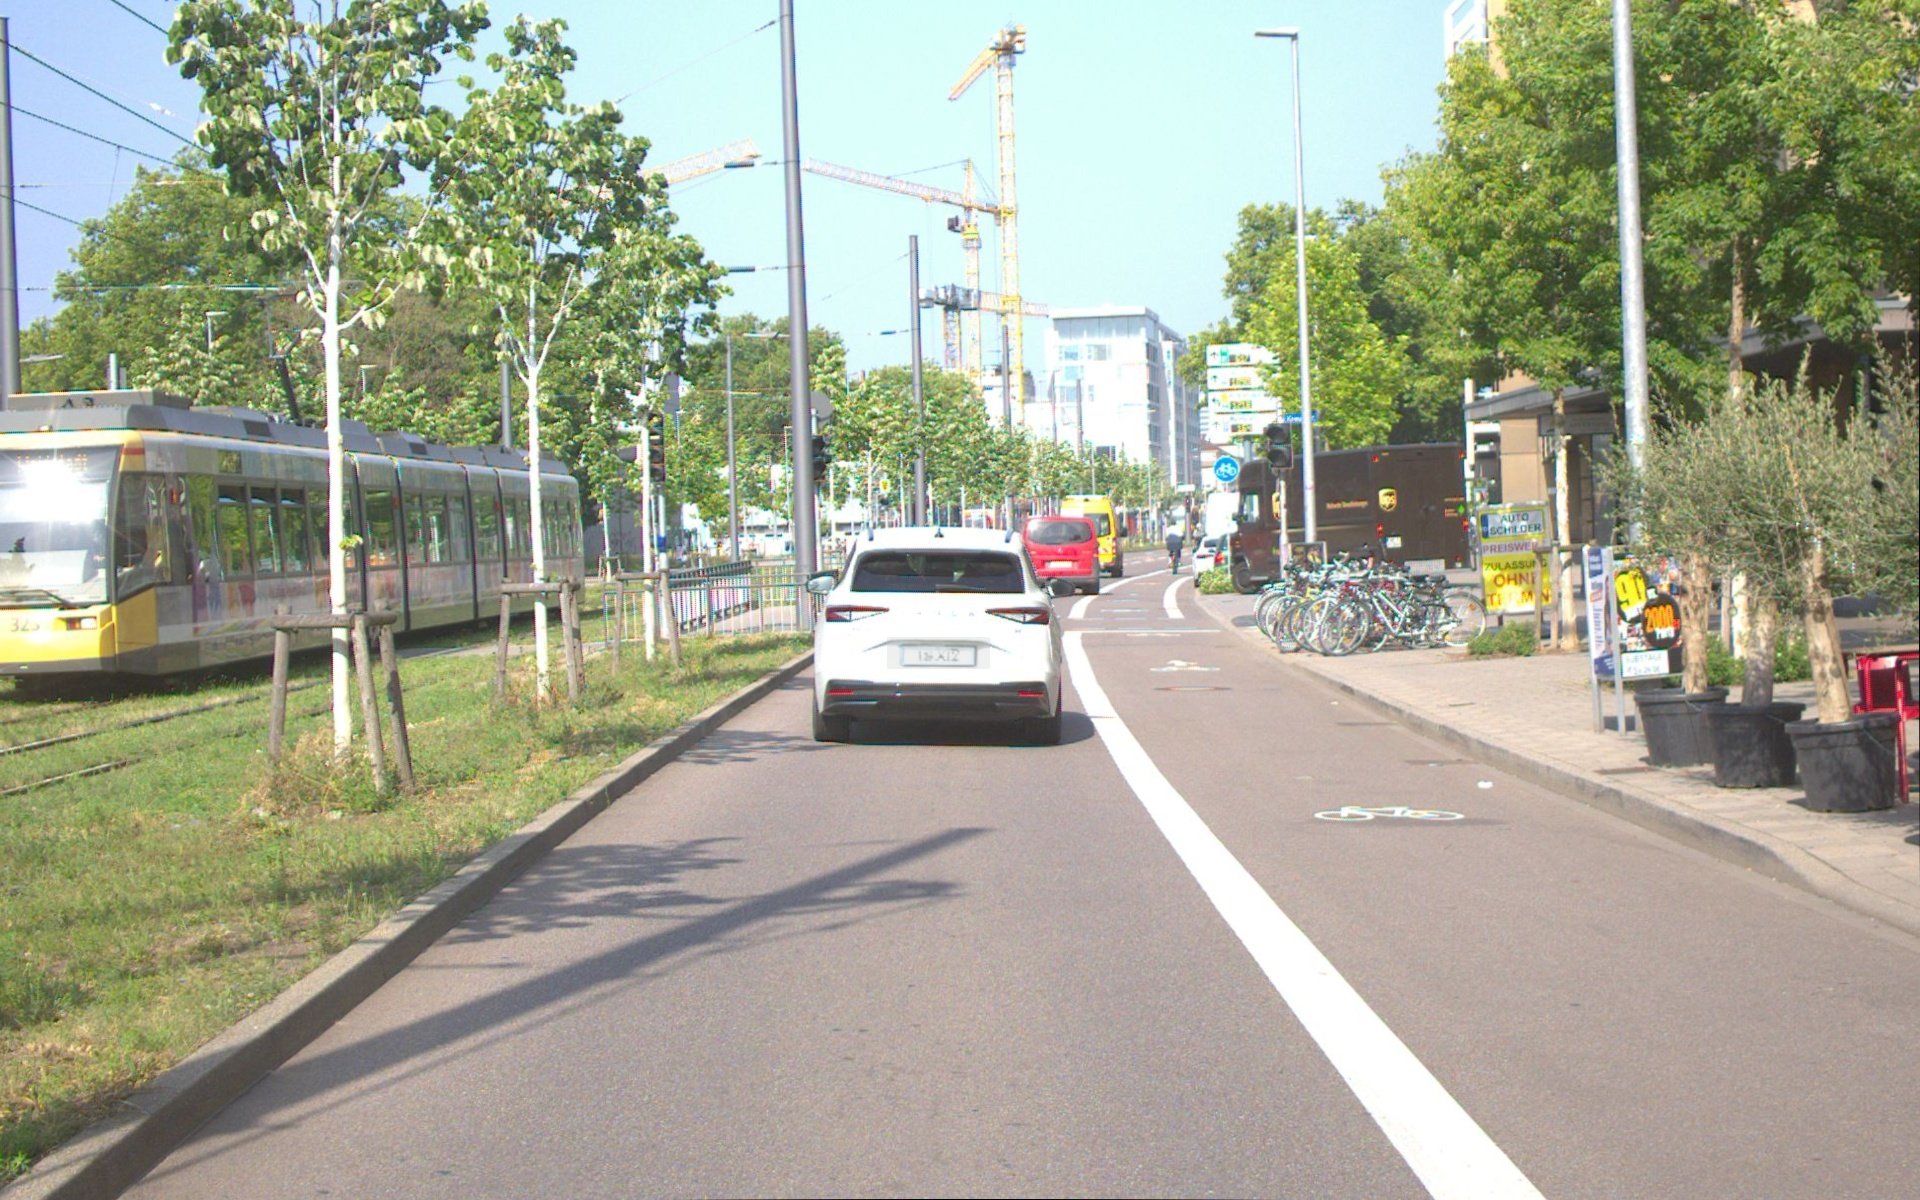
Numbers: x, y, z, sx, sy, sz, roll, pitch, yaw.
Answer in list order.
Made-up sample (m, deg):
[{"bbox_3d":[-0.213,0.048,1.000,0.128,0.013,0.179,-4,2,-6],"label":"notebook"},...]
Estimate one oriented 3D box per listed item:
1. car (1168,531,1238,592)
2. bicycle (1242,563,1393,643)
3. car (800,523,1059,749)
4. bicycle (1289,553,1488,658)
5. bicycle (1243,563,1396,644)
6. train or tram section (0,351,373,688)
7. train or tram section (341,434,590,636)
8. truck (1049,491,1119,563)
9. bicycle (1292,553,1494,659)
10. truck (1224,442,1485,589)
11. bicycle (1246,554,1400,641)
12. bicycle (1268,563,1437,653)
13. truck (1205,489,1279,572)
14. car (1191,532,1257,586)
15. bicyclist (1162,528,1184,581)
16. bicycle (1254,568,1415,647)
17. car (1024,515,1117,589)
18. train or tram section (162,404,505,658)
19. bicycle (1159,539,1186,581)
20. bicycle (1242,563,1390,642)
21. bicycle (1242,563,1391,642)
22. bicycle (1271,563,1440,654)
[{"bbox_3d":[6.315,-1.006,89.123,1.650,1.494,3.525,-1,1,6],"label":"car"},{"bbox_3d":[4.760,0.039,45.812,1.934,0.942,0.440,-3,1,4],"label":"bicycle"},{"bbox_3d":[-0.248,0.218,26.580,1.817,1.584,4.407,-1,1,-1],"label":"car"},{"bbox_3d":[5.061,0.059,40.669,2.239,1.100,0.519,-3,1,1],"label":"bicycle"},{"bbox_3d":[4.733,0.044,45.333,1.934,0.942,0.440,-3,1,4],"label":"bicycle"},{"bbox_3d":[-10.048,-0.921,43.233,2.898,3.574,12.477,-2,1,1],"label":"train or tram section"},{"bbox_3d":[-9.639,-1.257,68.490,2.898,3.574,12.225,-2,1,1],"label":"train or tram section"},{"bbox_3d":[4.111,-2.442,114.644,2.213,2.310,5.890,-1,1,1],"label":"truck"},{"bbox_3d":[5.043,0.065,40.114,2.239,1.100,0.588,-3,1,1],"label":"bicycle"},{"bbox_3d":[8.436,-1.806,74.484,2.509,3.001,6.962,-2,1,-22],"label":"truck"},{"bbox_3d":[4.733,-0.036,44.883,1.934,1.009,0.440,-3,1,4],"label":"bicycle"},{"bbox_3d":[4.794,0.097,42.030,1.955,0.983,0.471,-3,1,1],"label":"bicycle"},{"bbox_3d":[8.772,-2.163,107.130,1.993,2.500,4.000,-1,1,1],"label":"truck"},{"bbox_3d":[7.188,-1.123,93.361,1.650,1.380,3.525,-1,1,6],"label":"car"},{"bbox_3d":[7.644,-1.640,123.413,0.709,1.889,0.843,-1,1,1],"label":"bicyclist"},{"bbox_3d":[4.708,0.089,43.232,1.934,0.871,0.441,-3,1,1],"label":"bicycle"},{"bbox_3d":[2.646,-1.159,81.537,1.994,1.678,4.368,-1,1,4],"label":"car"},{"bbox_3d":[-9.876,-1.069,55.950,2.898,3.574,12.934,-2,1,1],"label":"train or tram section"},{"bbox_3d":[7.641,-1.447,123.577,0.781,1.491,2.801,-1,1,1],"label":"bicycle"},{"bbox_3d":[4.827,0.032,46.638,1.934,0.942,0.428,-3,1,4],"label":"bicycle"},{"bbox_3d":[4.785,0.036,46.195,1.934,0.942,0.428,-3,1,4],"label":"bicycle"},{"bbox_3d":[4.773,0.102,41.550,1.934,0.983,0.471,-3,1,1],"label":"bicycle"}]
